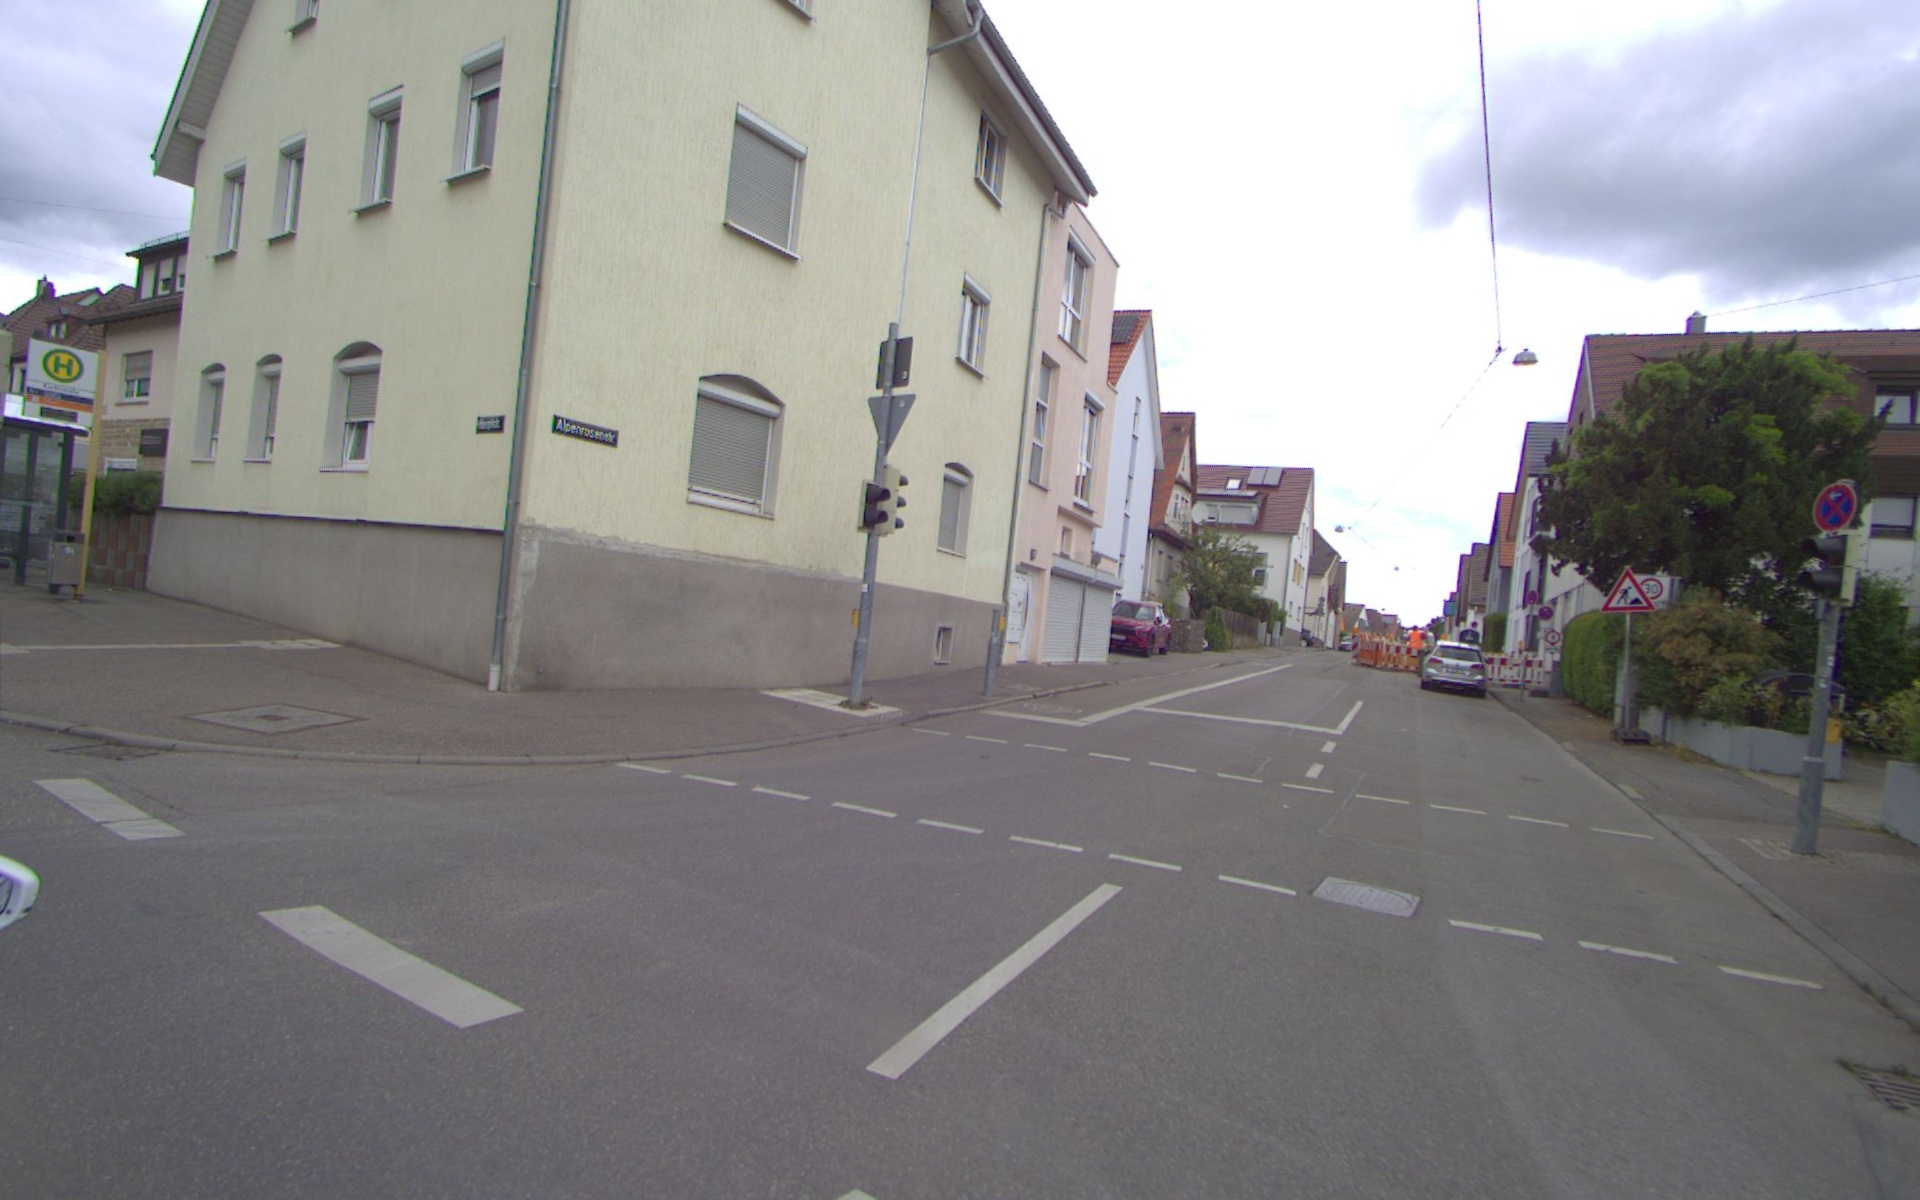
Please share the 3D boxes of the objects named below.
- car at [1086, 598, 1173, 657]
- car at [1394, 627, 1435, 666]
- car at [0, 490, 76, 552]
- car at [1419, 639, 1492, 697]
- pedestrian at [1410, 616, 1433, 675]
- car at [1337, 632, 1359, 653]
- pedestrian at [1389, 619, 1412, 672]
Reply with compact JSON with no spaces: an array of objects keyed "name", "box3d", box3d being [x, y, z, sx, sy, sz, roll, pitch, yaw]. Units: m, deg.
[{"name":"car","box3d":[5.527,0.906,32.445,1.759,1.614,3.619,7,1,24]},{"name":"car","box3d":[28.207,2.923,62.380,1.965,2.036,3.999,6,-3,27]},{"name":"car","box3d":[-26.534,-2.257,26.586,1.836,1.507,4.419,5,0,35]},{"name":"car","box3d":[14.727,1.980,29.858,1.697,1.427,3.994,6,0,27]},{"name":"pedestrian","box3d":[17.987,1.769,39.200,0.589,2.199,0.674,6,2,23]},{"name":"car","box3d":[33.191,3.653,86.082,1.701,1.710,4.000,0,-3,20]},{"name":"pedestrian","box3d":[17.369,1.793,39.669,0.589,2.040,0.674,6,2,23]}]
